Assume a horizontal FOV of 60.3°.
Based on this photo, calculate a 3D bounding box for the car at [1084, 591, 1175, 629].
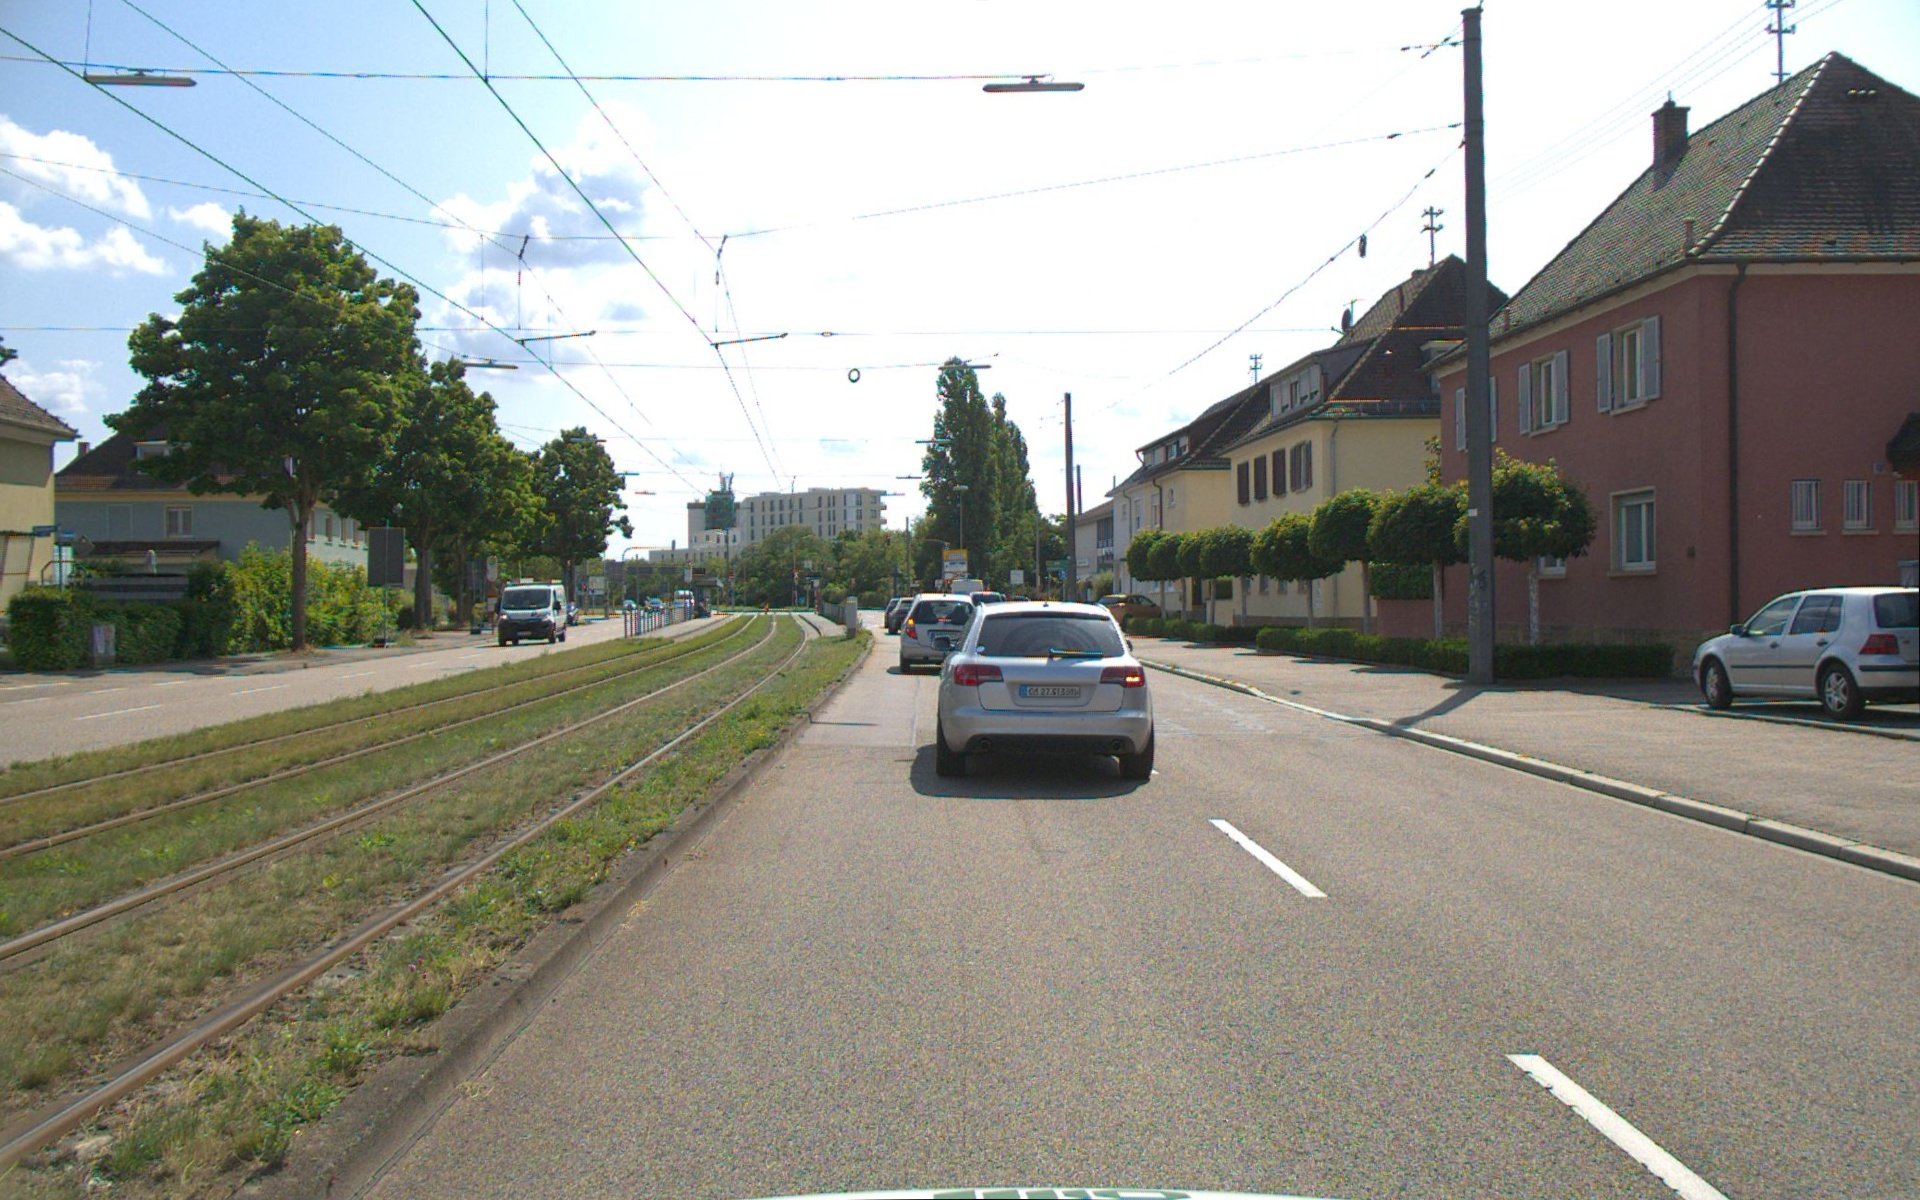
[{"bbox_3d":[7.421,0.393,72.270,1.883,1.483,4.067,0,2,43],"label":"car"}]

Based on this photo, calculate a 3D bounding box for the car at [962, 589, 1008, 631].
[{"bbox_3d":[1.134,0.416,73.084,1.845,1.761,4.096,-1,0,3],"label":"car"}]

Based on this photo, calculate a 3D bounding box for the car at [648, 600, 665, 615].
[{"bbox_3d":[-34.164,0.824,186.460,1.829,1.680,3.990,1,0,-10],"label":"car"}]

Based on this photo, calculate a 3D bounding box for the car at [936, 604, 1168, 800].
[{"bbox_3d":[0.799,0.805,15.256,1.816,1.518,4.537,0,0,2],"label":"car"}]

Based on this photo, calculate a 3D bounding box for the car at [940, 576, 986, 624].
[{"bbox_3d":[0.126,-0.027,92.746,2.002,2.602,5.223,0,0,-7],"label":"car"}]

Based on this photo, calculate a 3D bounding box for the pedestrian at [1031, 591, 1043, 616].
[{"bbox_3d":[5.622,0.266,121.205,0.707,1.814,0.702,-3,0,-4],"label":"pedestrian"}]

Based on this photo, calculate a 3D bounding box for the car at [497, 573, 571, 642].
[{"bbox_3d":[-16.054,0.287,62.564,2.156,2.413,5.320,-2,0,-10],"label":"car"}]

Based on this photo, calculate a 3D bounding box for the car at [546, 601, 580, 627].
[{"bbox_3d":[-26.357,0.901,110.017,2.024,1.642,4.739,-1,0,-12],"label":"car"}]

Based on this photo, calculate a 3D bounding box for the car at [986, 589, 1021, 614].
[{"bbox_3d":[2.962,0.115,113.744,1.849,1.665,4.088,1,0,-7],"label":"car"}]

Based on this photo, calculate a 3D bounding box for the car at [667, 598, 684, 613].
[{"bbox_3d":[-31.226,0.612,181.514,1.862,1.568,3.720,1,0,-10],"label":"car"}]

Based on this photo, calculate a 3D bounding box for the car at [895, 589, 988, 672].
[{"bbox_3d":[-0.442,0.602,34.699,1.751,1.604,4.092,2,0,-3],"label":"car"}]

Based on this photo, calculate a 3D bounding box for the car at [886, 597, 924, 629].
[{"bbox_3d":[-2.721,0.659,82.578,1.847,1.557,4.093,1,0,-1],"label":"car"}]

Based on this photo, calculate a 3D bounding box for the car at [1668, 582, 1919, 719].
[{"bbox_3d":[10.317,0.538,19.655,1.617,1.434,4.345,-1,0,-5],"label":"car"}]
